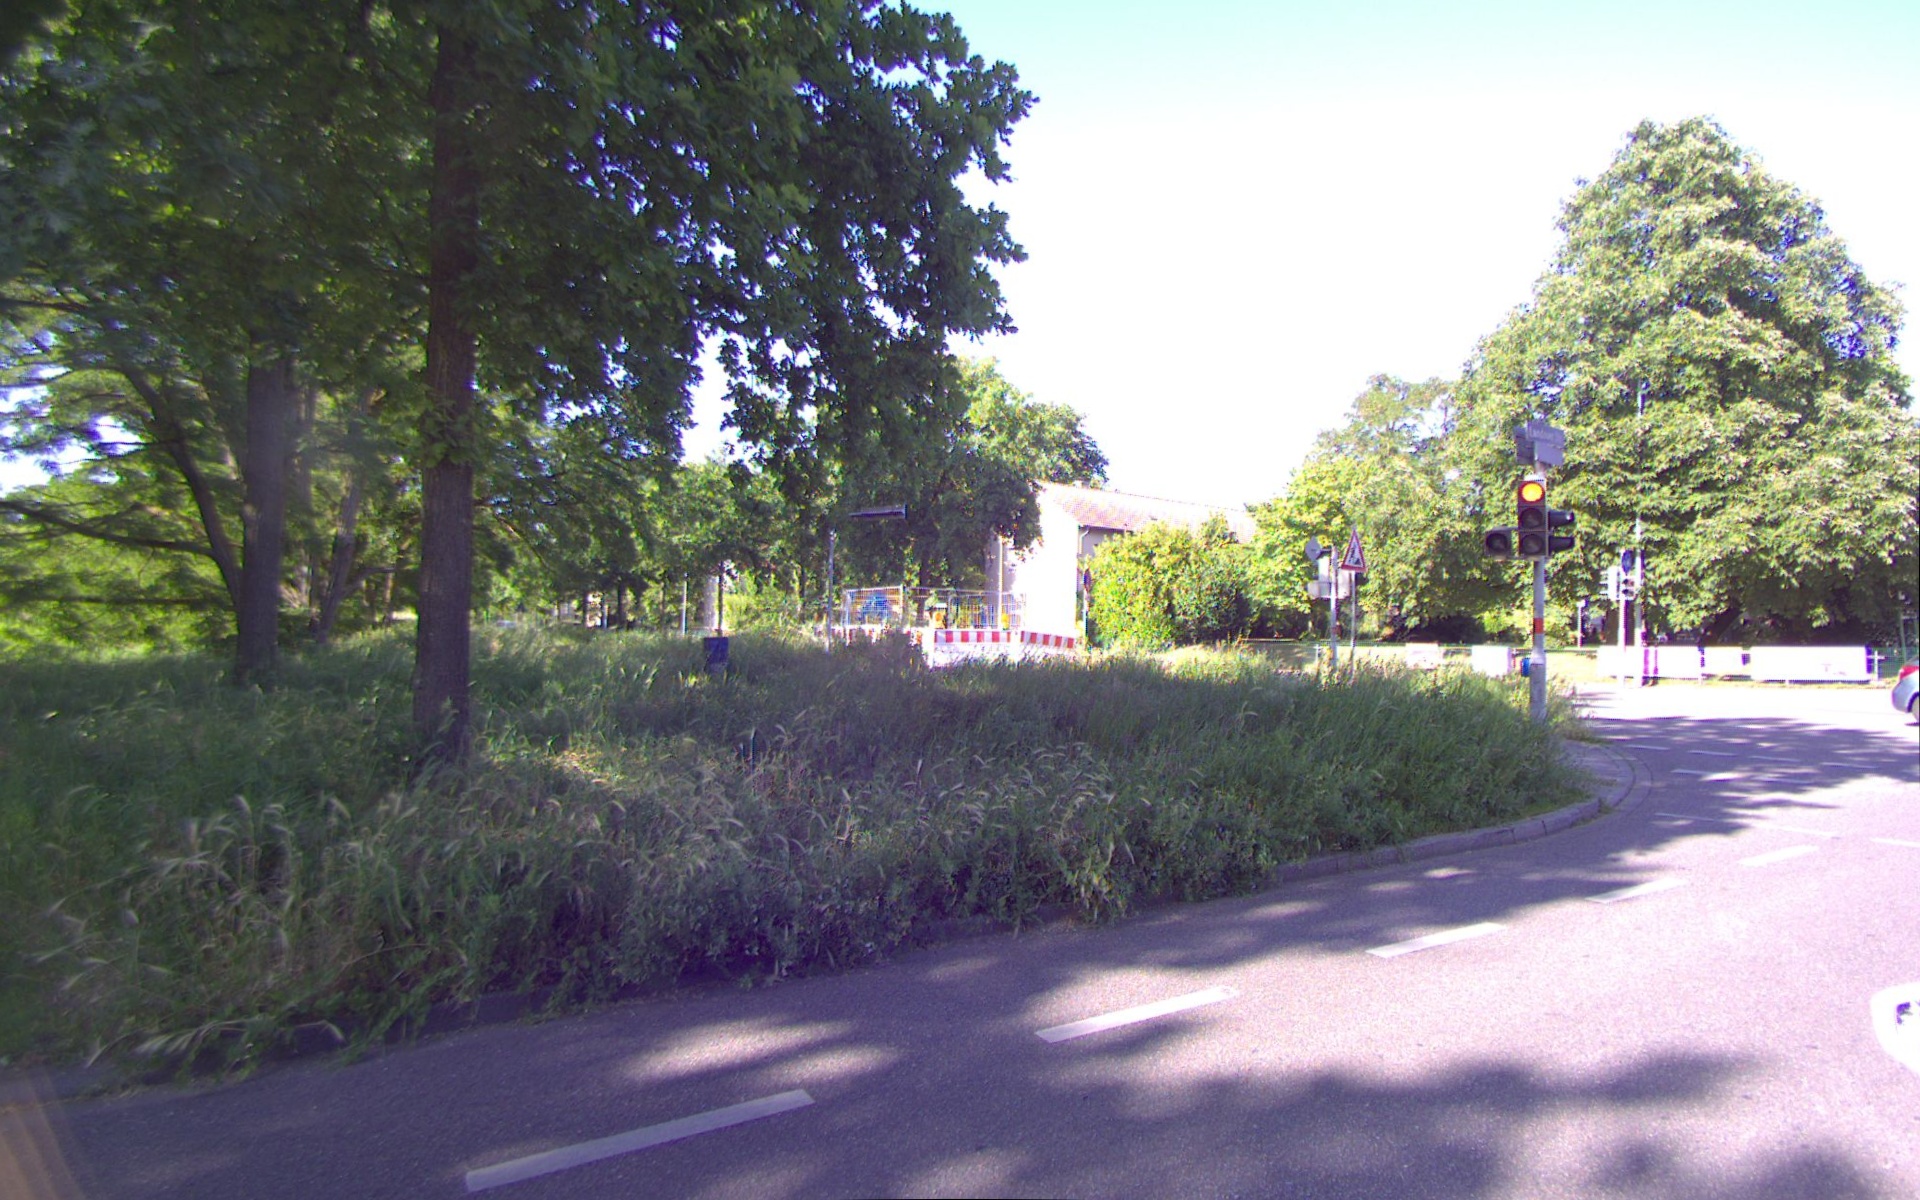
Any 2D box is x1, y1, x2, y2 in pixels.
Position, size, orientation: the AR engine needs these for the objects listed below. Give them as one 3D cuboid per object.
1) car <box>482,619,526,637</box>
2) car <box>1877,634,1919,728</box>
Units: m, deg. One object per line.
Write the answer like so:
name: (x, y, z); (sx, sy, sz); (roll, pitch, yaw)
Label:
car: (-47.376, 2.871, 104.490); (3.939, 1.673, 1.991); (2, 0, -20)
car: (17.121, 1.285, 15.341); (1.892, 1.508, 4.261); (1, -2, -31)
